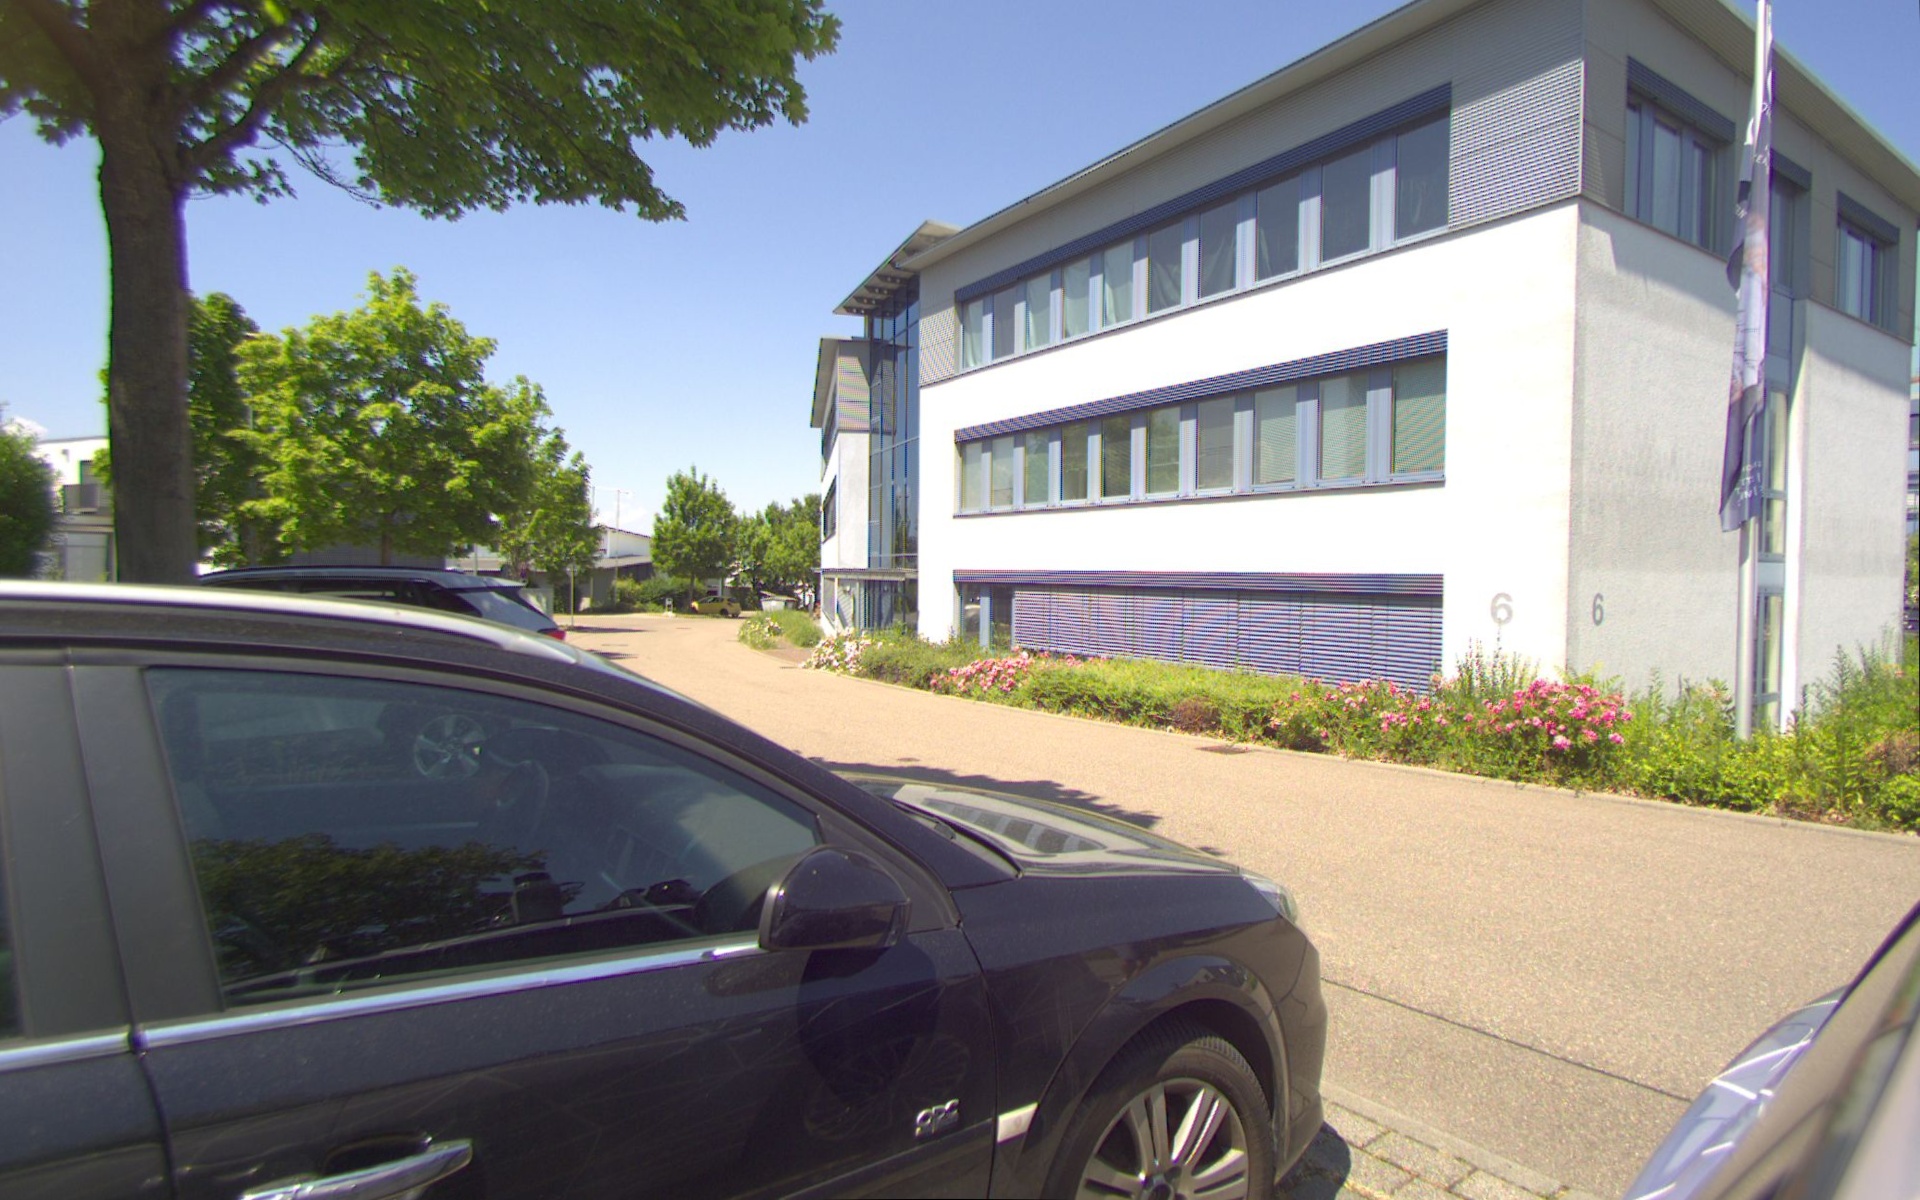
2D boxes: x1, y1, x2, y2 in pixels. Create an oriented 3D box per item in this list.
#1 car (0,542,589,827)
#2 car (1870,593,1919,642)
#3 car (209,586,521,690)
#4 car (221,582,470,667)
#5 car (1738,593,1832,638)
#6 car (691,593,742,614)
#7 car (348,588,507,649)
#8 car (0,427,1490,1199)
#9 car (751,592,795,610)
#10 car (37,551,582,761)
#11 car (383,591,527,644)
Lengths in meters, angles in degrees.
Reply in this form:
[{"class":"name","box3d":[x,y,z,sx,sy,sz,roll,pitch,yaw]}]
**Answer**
[{"class":"car","box3d":[-5.146,0.508,7.369,4.249,1.664,1.857,1,-1,-35]},{"class":"car","box3d":[32.727,0.567,34.499,3.925,1.565,1.788,-1,0,-36]},{"class":"car","box3d":[-9.331,0.583,16.232,4.092,1.505,1.663,1,-1,-27]},{"class":"car","box3d":[-12.381,0.504,20.702,4.090,1.625,1.664,1,-1,-21]},{"class":"car","box3d":[30.624,0.547,37.528,3.925,1.565,1.788,-1,0,-36]},{"class":"car","box3d":[-17.090,0.216,71.159,3.172,1.460,1.580,0,0,18]},{"class":"car","box3d":[-14.203,0.504,27.189,3.514,1.545,1.639,1,-1,-17]},{"class":"car","box3d":[-1.014,0.627,1.843,4.480,1.569,1.763,0,0,-37]},{"class":"car","box3d":[-15.218,0.053,82.356,3.172,1.460,1.580,0,0,18]},{"class":"car","box3d":[-6.050,0.473,9.876,4.122,1.664,1.661,1,-1,-35]},{"class":"car","box3d":[-14.645,0.511,29.539,3.514,1.461,1.639,1,-1,-17]}]
